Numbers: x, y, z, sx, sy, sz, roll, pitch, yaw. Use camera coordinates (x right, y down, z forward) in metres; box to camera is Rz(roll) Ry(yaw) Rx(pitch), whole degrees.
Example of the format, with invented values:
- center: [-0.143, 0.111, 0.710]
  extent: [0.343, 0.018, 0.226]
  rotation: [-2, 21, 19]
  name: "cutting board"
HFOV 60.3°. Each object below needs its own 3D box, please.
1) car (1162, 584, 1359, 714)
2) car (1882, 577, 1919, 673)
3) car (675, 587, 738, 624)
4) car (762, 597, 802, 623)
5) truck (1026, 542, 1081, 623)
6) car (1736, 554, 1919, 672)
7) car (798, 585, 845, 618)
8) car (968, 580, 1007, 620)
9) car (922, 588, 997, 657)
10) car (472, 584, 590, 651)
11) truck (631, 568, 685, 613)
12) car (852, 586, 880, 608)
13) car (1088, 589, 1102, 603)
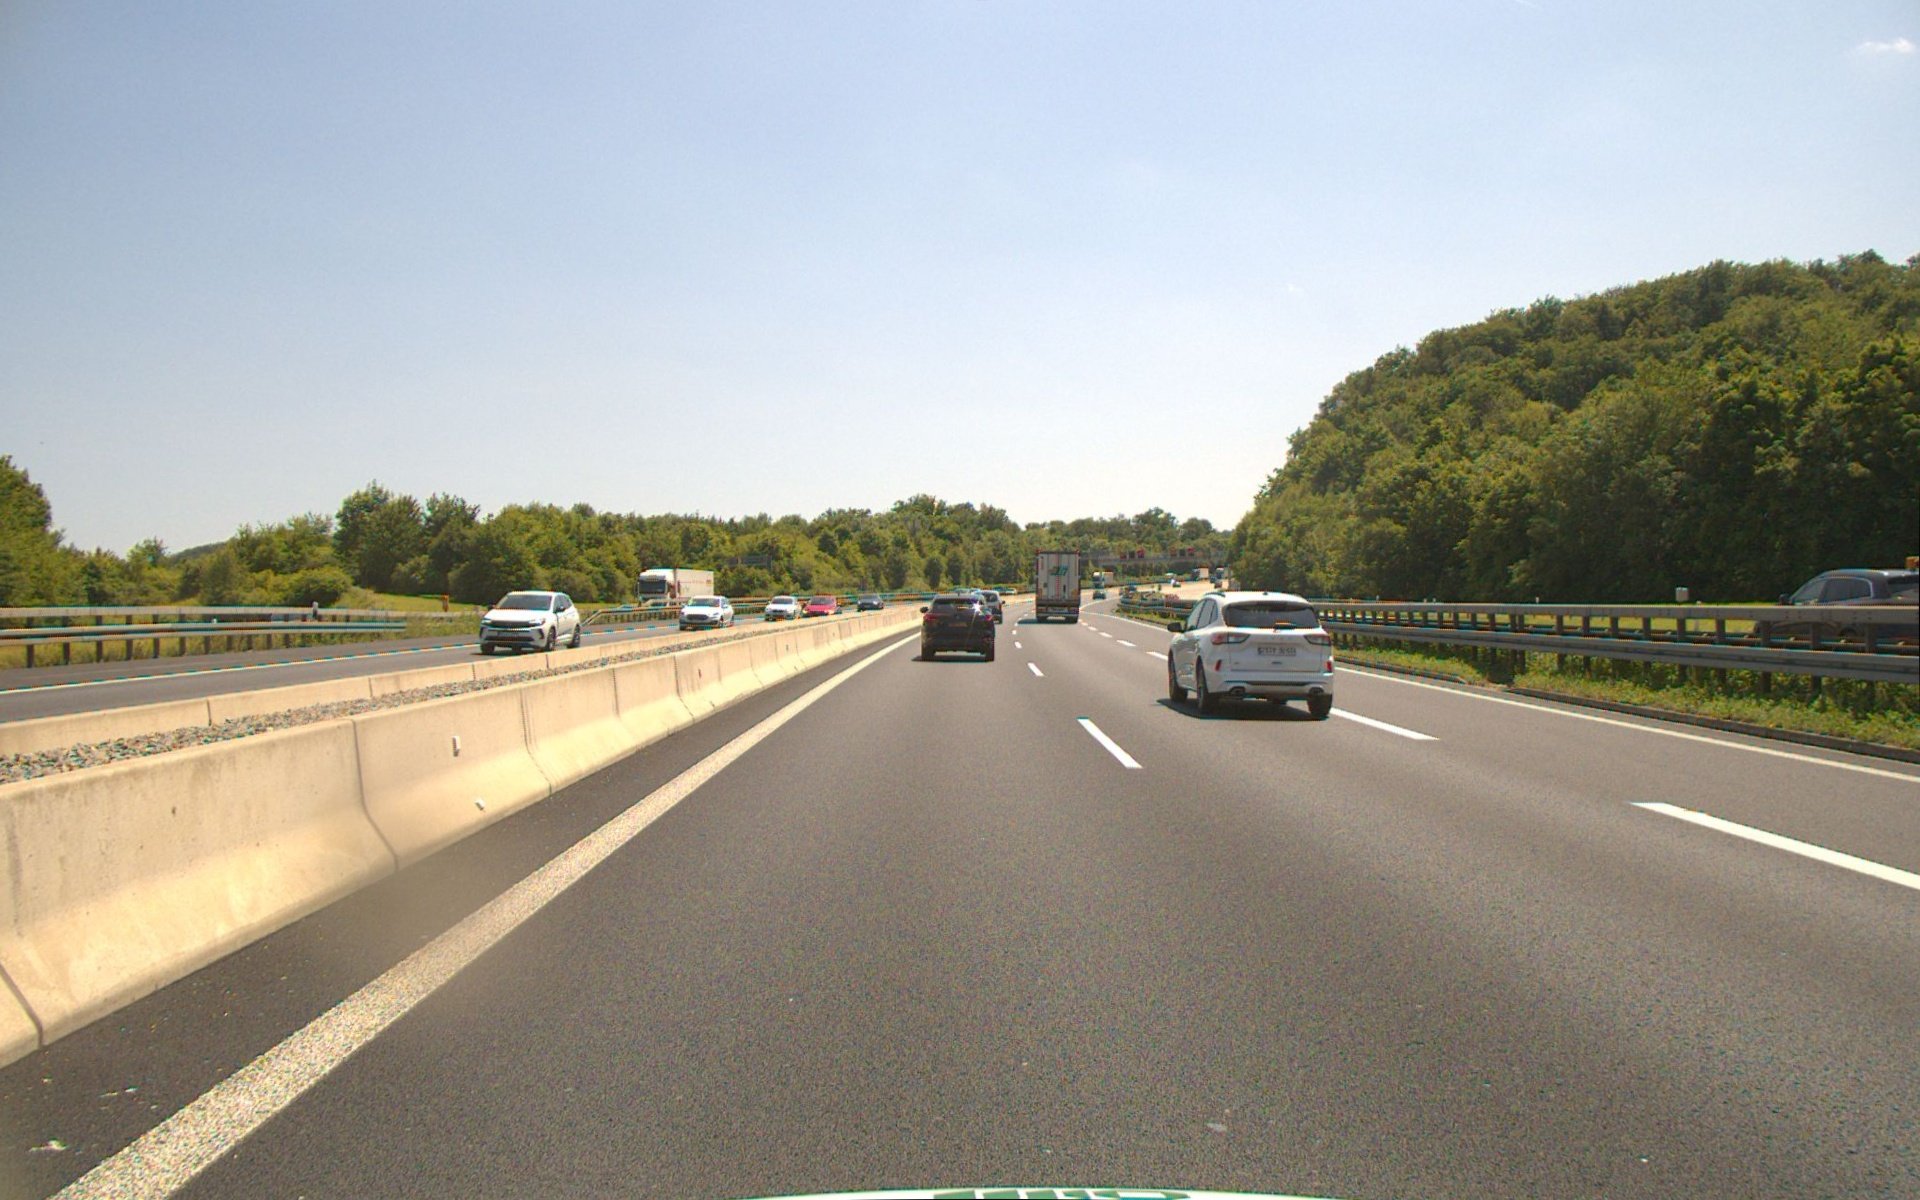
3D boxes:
- center: [4.194, 0.648, 23.805]
  extent: [1.953, 1.691, 4.467]
  rotation: [0, 0, -1]
  name: "car"
- center: [17.943, 0.432, 27.841]
  extent: [1.952, 1.691, 5.228]
  rotation: [0, 0, 0]
  name: "car"
- center: [-11.155, 0.231, 73.026]
  extent: [1.952, 1.570, 5.041]
  rotation: [0, 0, 1]
  name: "car"
- center: [-10.428, 0.581, 97.200]
  extent: [1.812, 1.419, 4.001]
  rotation: [1, 0, 2]
  name: "car"
- center: [5.478, -0.955, 98.936]
  extent: [2.969, 4.496, 12.021]
  rotation: [0, 0, 2]
  name: "truck"
- center: [14.539, 0.196, 25.811]
  extent: [1.954, 1.691, 5.622]
  rotation: [0, 0, -4]
  name: "car"
- center: [-7.137, 0.094, 85.681]
  extent: [1.952, 1.688, 4.635]
  rotation: [0, 0, 1]
  name: "car"
- center: [1.520, -0.027, 91.591]
  extent: [1.953, 2.048, 4.000]
  rotation: [-3, 0, -1]
  name: "car"
- center: [-0.059, 0.539, 40.925]
  extent: [1.743, 1.605, 3.999]
  rotation: [0, 0, -1]
  name: "car"
- center: [-11.356, 0.456, 44.073]
  extent: [1.830, 1.695, 4.664]
  rotation: [0, 0, 1]
  name: "car"
- center: [-24.220, -0.756, 132.748]
  extent: [3.018, 3.565, 5.412]
  rotation: [0, 0, 4]
  name: "truck"
- center: [-7.988, -0.241, 140.806]
  extent: [1.952, 1.856, 4.906]
  rotation: [0, 0, 2]
  name: "car"
- center: [20.404, -0.604, 250.637]
  extent: [1.951, 2.049, 4.003]
  rotation: [0, 0, 7]
  name: "car"
